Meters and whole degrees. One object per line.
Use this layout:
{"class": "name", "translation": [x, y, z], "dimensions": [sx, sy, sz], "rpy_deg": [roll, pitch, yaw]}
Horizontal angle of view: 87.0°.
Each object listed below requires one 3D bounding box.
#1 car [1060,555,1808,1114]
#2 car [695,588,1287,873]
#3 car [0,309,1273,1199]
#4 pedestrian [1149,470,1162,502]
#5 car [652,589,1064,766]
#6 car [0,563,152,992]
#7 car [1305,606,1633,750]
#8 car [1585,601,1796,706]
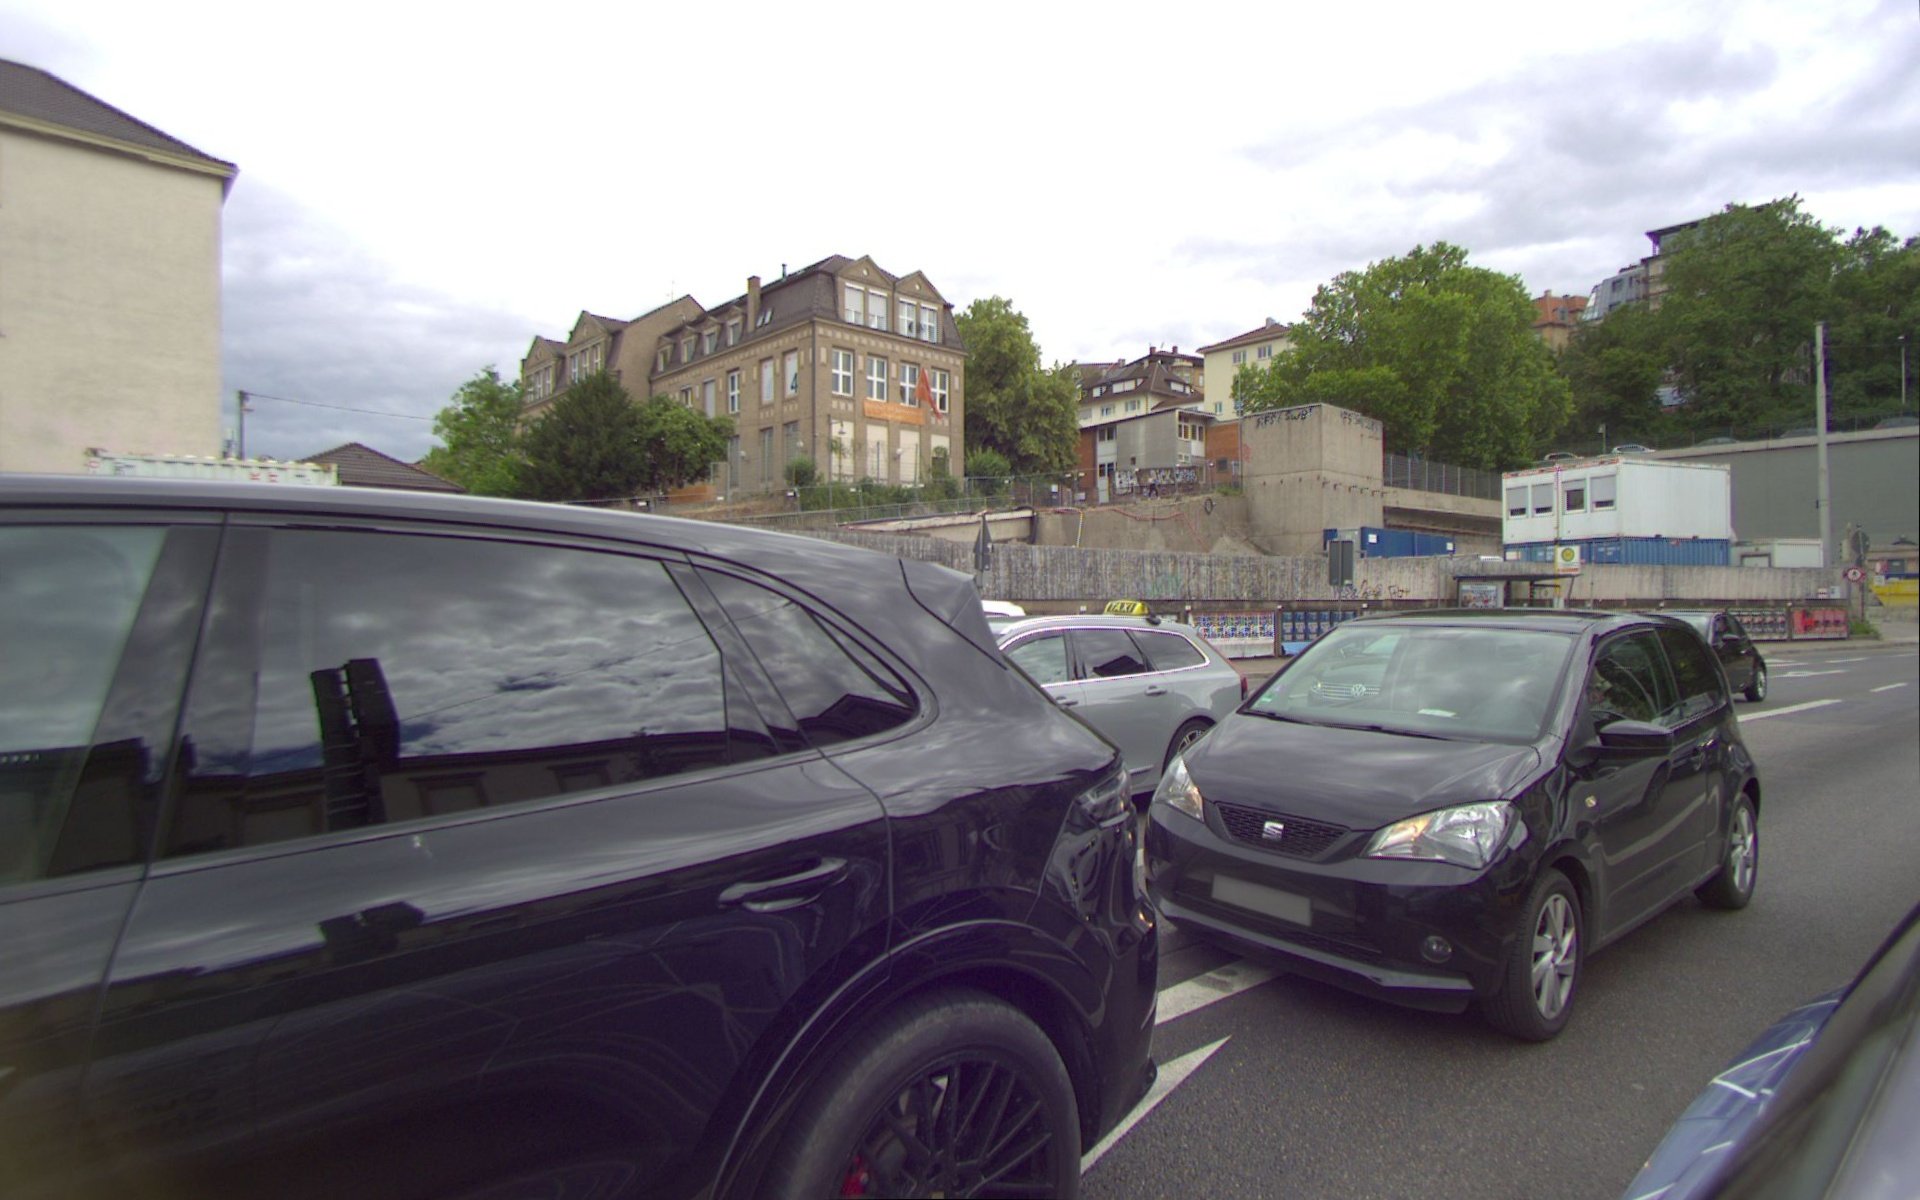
{"class": "car", "translation": [2.416, 0.637, 4.718], "dimensions": [3.841, 1.575, 1.661], "rpy_deg": [-1, 0, -39]}
{"class": "car", "translation": [0.404, 0.663, 7.339], "dimensions": [4.142, 1.484, 1.825], "rpy_deg": [-1, 0, -40]}
{"class": "car", "translation": [-1.653, 0.561, 1.666], "dimensions": [4.497, 1.689, 1.998], "rpy_deg": [-1, 0, -39]}
{"class": "pedestrian", "translation": [11.281, -6.577, 58.409], "dimensions": [0.557, 1.817, 0.556], "rpy_deg": [0, 0, -24]}
{"class": "car", "translation": [-0.935, 0.639, 10.602], "dimensions": [4.004, 1.484, 1.824], "rpy_deg": [-1, 0, -42]}
{"class": "car", "translation": [-5.057, 0.642, 3.456], "dimensions": [3.581, 1.529, 1.826], "rpy_deg": [-1, 0, -39]}
{"class": "car", "translation": [6.027, 0.776, 11.805], "dimensions": [4.139, 1.381, 1.827], "rpy_deg": [1, 0, -38]}
{"class": "car", "translation": [11.650, 0.787, 16.078], "dimensions": [3.711, 1.478, 1.721], "rpy_deg": [1, -2, -38]}
